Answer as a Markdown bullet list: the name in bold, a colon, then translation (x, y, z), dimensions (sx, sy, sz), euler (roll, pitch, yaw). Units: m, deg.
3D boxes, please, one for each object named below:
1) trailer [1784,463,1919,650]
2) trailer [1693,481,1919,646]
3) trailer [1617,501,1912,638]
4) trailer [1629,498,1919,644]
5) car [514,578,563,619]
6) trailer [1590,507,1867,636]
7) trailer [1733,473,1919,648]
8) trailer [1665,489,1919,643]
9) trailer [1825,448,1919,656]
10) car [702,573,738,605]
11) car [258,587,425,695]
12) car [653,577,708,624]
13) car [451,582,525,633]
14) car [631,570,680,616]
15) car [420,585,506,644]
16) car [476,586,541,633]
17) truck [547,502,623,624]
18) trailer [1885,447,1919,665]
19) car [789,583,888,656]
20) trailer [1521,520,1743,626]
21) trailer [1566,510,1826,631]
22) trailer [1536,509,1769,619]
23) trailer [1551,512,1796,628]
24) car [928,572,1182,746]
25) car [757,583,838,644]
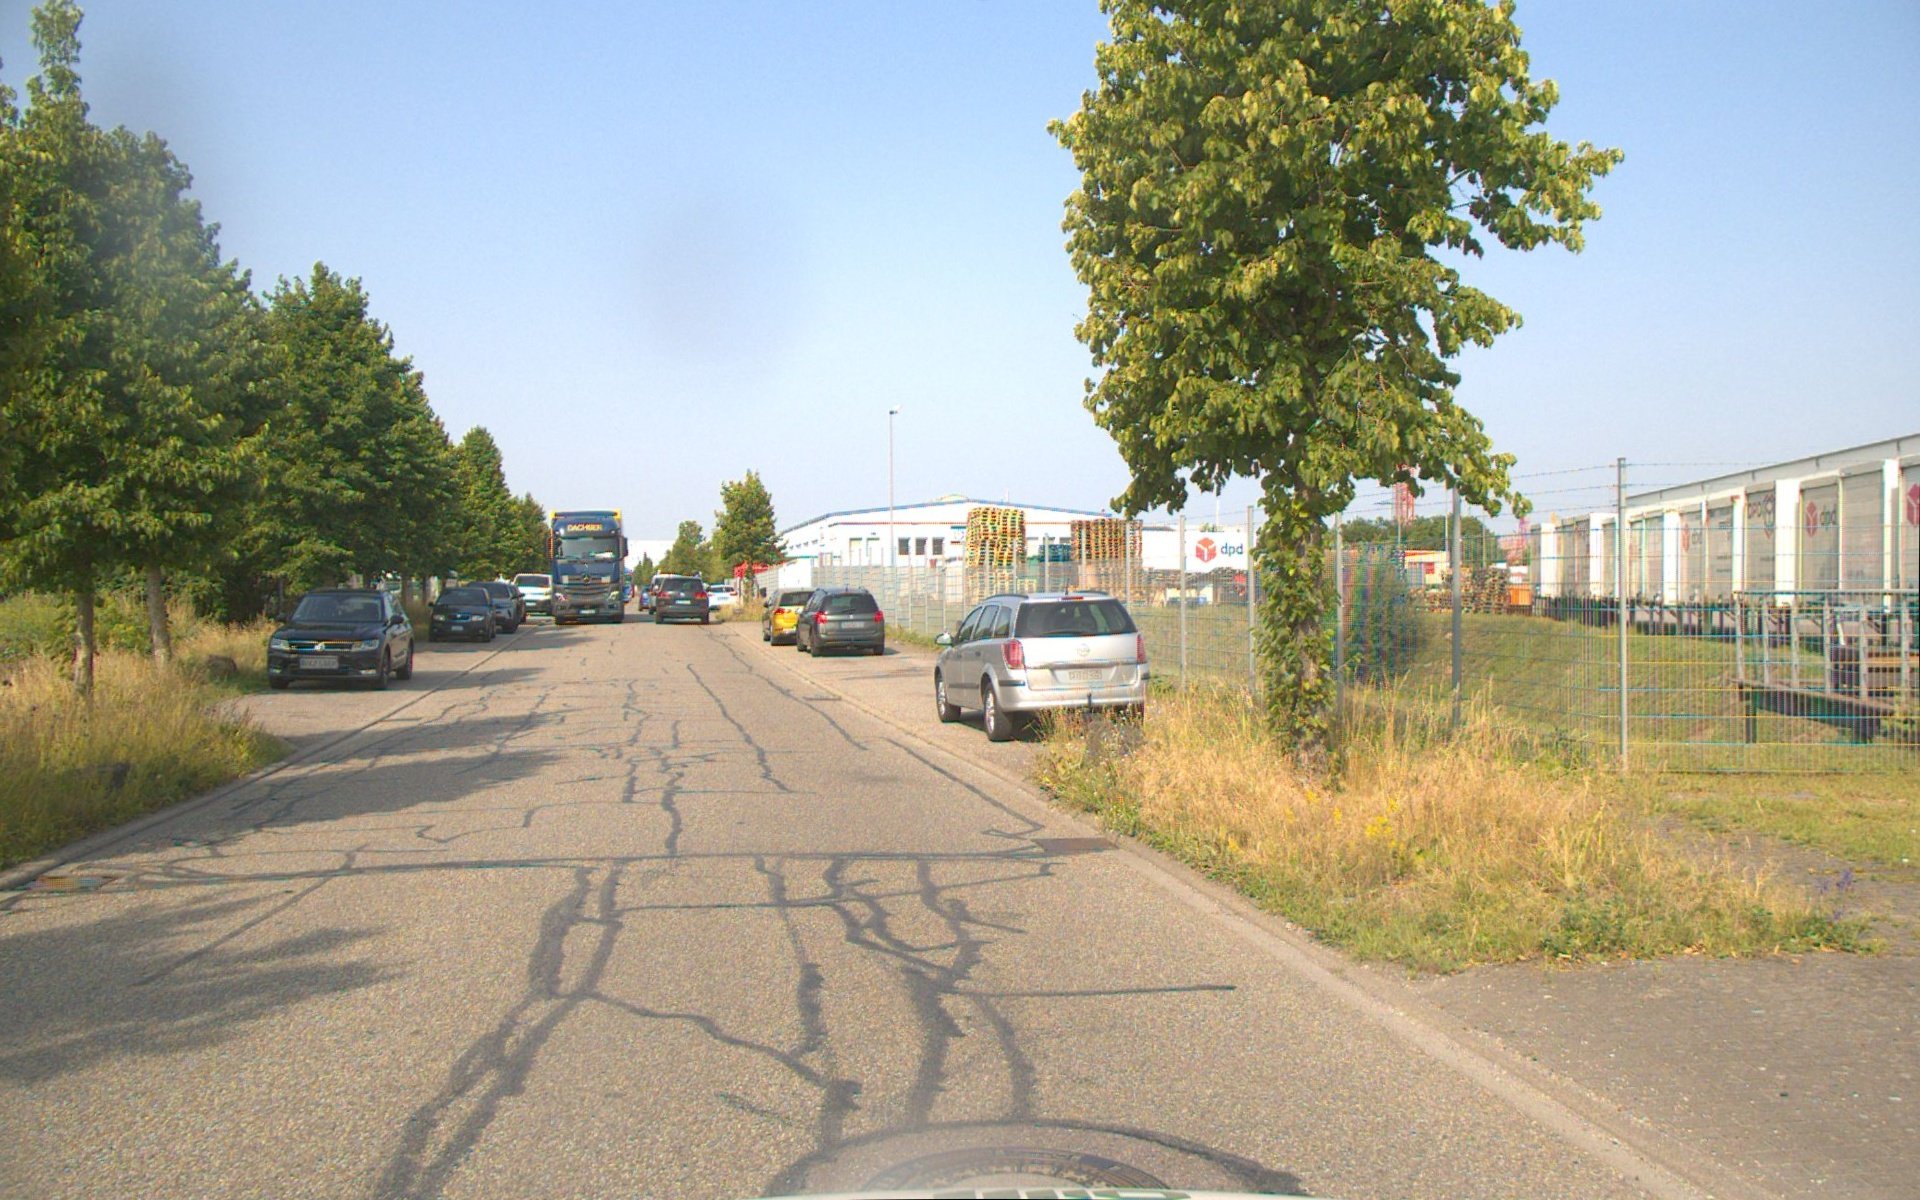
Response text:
- **trailer**: translation (22.862, -0.871, 36.403), dimensions (7.862, 3.961, 2.778), euler (2, 1, 7)
- **trailer**: translation (23.369, -0.902, 42.396), dimensions (7.793, 3.961, 2.778), euler (2, 1, 7)
- **trailer**: translation (25.243, -0.995, 52.252), dimensions (7.793, 3.961, 2.778), euler (2, 1, 7)
- **trailer**: translation (24.173, -0.879, 48.599), dimensions (7.793, 3.961, 2.778), euler (2, 1, 7)
- **car**: translation (-19.012, -0.089, 74.783), dimensions (1.800, 1.793, 4.040), euler (1, 0, -10)
- **trailer**: translation (25.538, -0.985, 55.308), dimensions (7.793, 3.961, 2.778), euler (2, 1, 7)
- **trailer**: translation (23.039, -0.889, 39.392), dimensions (7.793, 3.961, 2.778), euler (2, 1, 7)
- **trailer**: translation (23.961, -0.932, 45.559), dimensions (7.793, 3.961, 2.778), euler (2, 1, 7)
- **trailer**: translation (21.917, -0.829, 32.532), dimensions (8.131, 3.961, 2.778), euler (2, 1, 7)
- **car**: translation (-12.910, -0.588, 88.854), dimensions (1.685, 1.709, 3.938), euler (0, 0, -12)
- **car**: translation (-10.472, 0.640, 28.318), dimensions (1.868, 1.654, 4.438), euler (1, 0, -10)
- **car**: translation (-10.006, -0.002, 59.376), dimensions (1.845, 1.614, 4.105), euler (0, 0, -8)
- **car**: translation (-14.735, 0.210, 51.835), dimensions (1.800, 1.522, 4.040), euler (1, 0, -10)
- **car**: translation (-14.628, -0.335, 79.643), dimensions (2.081, 2.147, 4.616), euler (0, 0, -8)
- **car**: translation (-13.748, 0.364, 45.928), dimensions (1.800, 1.522, 4.040), euler (1, 0, -10)
- **car**: translation (-15.842, 0.307, 58.229), dimensions (1.800, 1.522, 4.040), euler (1, 0, -10)
- **truck**: translation (-14.198, -1.364, 63.153), dimensions (2.454, 4.217, 10.350), euler (-2, 1, -11)
- **trailer**: translation (21.480, -0.671, 29.500), dimensions (8.131, 3.961, 2.778), euler (2, 1, 7)
- **car**: translation (-2.883, 0.418, 38.621), dimensions (1.685, 1.541, 3.991), euler (-2, 1, -13)
- **trailer**: translation (27.186, -1.123, 67.202), dimensions (7.793, 3.961, 2.745), euler (2, 1, 7)
- **trailer**: translation (25.802, -1.063, 58.331), dimensions (7.793, 3.961, 2.778), euler (2, 1, 7)
- **trailer**: translation (26.774, -1.411, 64.255), dimensions (7.793, 3.961, 2.745), euler (2, 1, 7)
- **trailer**: translation (26.327, -1.134, 61.350), dimensions (7.793, 3.961, 2.778), euler (2, 1, 7)
- **car**: translation (0.921, 0.558, 18.650), dimensions (1.767, 1.654, 4.437), euler (-2, 1, -11)
- **car**: translation (-4.389, 0.325, 44.168), dimensions (1.685, 1.480, 4.175), euler (-2, 1, -12)
